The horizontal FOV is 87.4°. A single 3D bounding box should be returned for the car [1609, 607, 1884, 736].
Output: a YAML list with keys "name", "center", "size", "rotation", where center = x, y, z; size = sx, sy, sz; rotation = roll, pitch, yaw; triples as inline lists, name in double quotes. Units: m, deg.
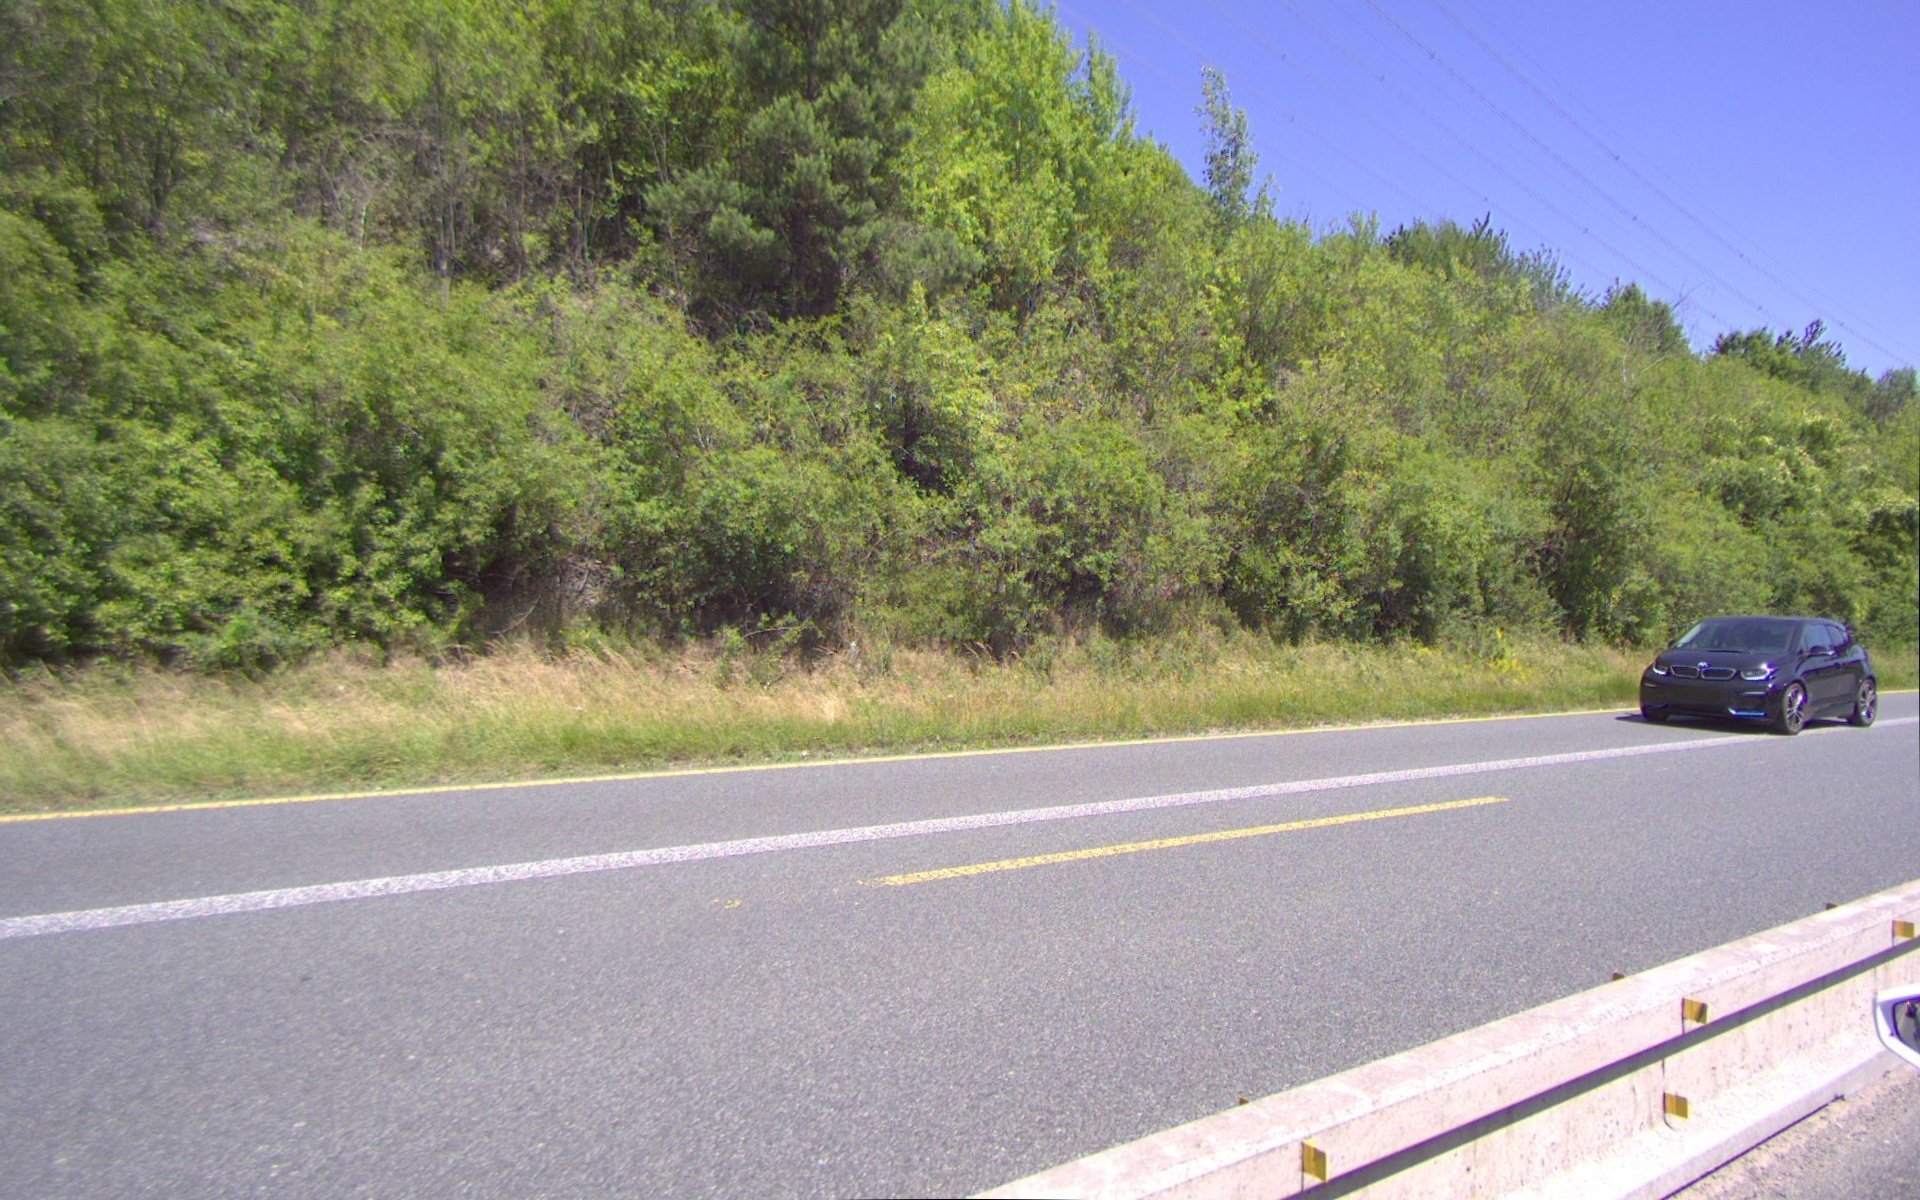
- name: "car"
  center: [11.400, 0.955, 14.516]
  size: [4.021, 1.598, 1.770]
  rotation: [1, 0, -30]
